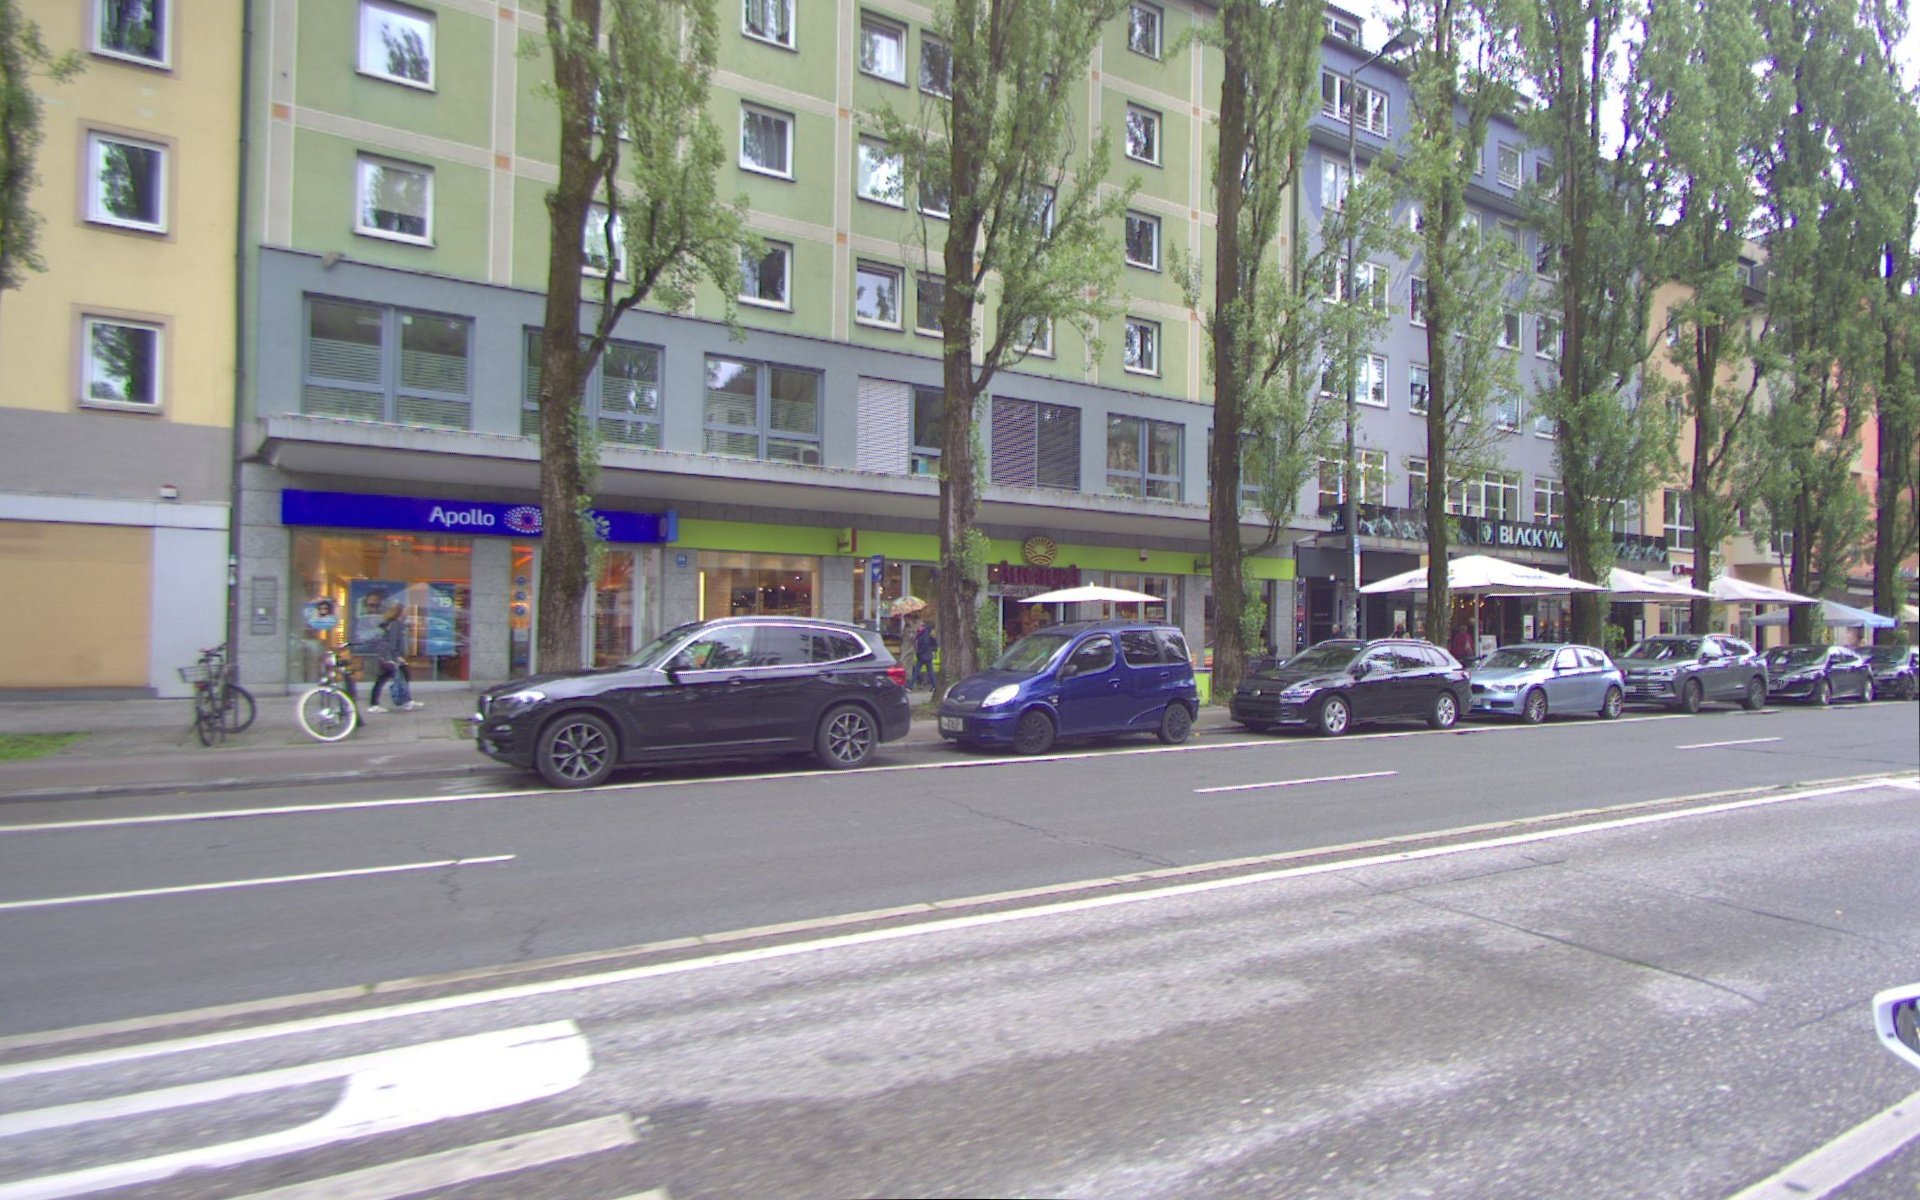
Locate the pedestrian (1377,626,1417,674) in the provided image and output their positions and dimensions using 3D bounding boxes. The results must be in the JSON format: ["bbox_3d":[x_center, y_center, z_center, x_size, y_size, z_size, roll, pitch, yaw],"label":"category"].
[{"bbox_3d":[13.353,1.530,30.726,0.755,1.428,0.797,2,0,-17],"label":"pedestrian"}]

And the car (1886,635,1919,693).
[{"bbox_3d":[29.910,1.918,30.242,4.072,1.687,1.858,1,-3,-30],"label":"car"}]

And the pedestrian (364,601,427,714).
[{"bbox_3d":[-8.797,0.892,15.690,0.775,1.708,0.753,2,-3,-28],"label":"pedestrian"}]

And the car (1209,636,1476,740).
[{"bbox_3d":[6.312,1.370,16.461,4.299,1.508,1.790,1,-3,-30],"label":"car"}]

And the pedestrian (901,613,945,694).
[{"bbox_3d":[-0.805,1.160,21.789,0.667,1.708,0.753,2,-3,-28],"label":"pedestrian"}]

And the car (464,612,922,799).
[{"bbox_3d":[-2.845,1.049,11.038,4.556,1.686,1.858,1,-3,-30],"label":"car"}]

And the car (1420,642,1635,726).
[{"bbox_3d":[10.797,1.532,19.059,4.094,1.444,1.725,1,-3,-30],"label":"car"}]

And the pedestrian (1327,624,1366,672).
[{"bbox_3d":[12.016,1.488,31.236,0.755,1.428,0.797,2,0,-17],"label":"pedestrian"}]

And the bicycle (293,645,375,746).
[{"bbox_3d":[-8.154,1.207,13.154,0.710,1.110,1.862,1,1,-26],"label":"bicycle"}]

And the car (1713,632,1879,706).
[{"bbox_3d":[20.756,1.679,24.921,4.072,1.687,1.858,1,-3,-30],"label":"car"}]

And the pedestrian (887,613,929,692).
[{"bbox_3d":[-1.164,1.174,22.474,0.667,1.708,0.753,2,-3,-28],"label":"pedestrian"}]

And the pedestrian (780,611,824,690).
[{"bbox_3d":[-3.478,1.110,22.062,0.749,1.708,0.670,2,-3,-29],"label":"pedestrian"}]

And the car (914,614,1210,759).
[{"bbox_3d":[1.460,1.124,13.878,3.880,1.743,1.700,2,-3,-33],"label":"car"}]

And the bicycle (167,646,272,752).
[{"bbox_3d":[-9.176,1.182,12.517,0.710,1.110,1.862,1,1,-26],"label":"bicycle"}]

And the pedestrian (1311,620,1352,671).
[{"bbox_3d":[10.797,1.325,29.208,0.792,1.428,0.760,2,0,-34],"label":"pedestrian"}]

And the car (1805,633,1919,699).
[{"bbox_3d":[25.334,1.794,27.673,4.072,1.687,1.858,1,-3,-30],"label":"car"}]

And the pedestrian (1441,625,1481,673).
[{"bbox_3d":[15.402,1.494,30.882,0.792,1.428,0.760,2,0,-34],"label":"pedestrian"}]

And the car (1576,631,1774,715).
[{"bbox_3d":[15.628,1.547,21.919,4.349,1.687,1.858,1,-3,-30],"label":"car"}]
